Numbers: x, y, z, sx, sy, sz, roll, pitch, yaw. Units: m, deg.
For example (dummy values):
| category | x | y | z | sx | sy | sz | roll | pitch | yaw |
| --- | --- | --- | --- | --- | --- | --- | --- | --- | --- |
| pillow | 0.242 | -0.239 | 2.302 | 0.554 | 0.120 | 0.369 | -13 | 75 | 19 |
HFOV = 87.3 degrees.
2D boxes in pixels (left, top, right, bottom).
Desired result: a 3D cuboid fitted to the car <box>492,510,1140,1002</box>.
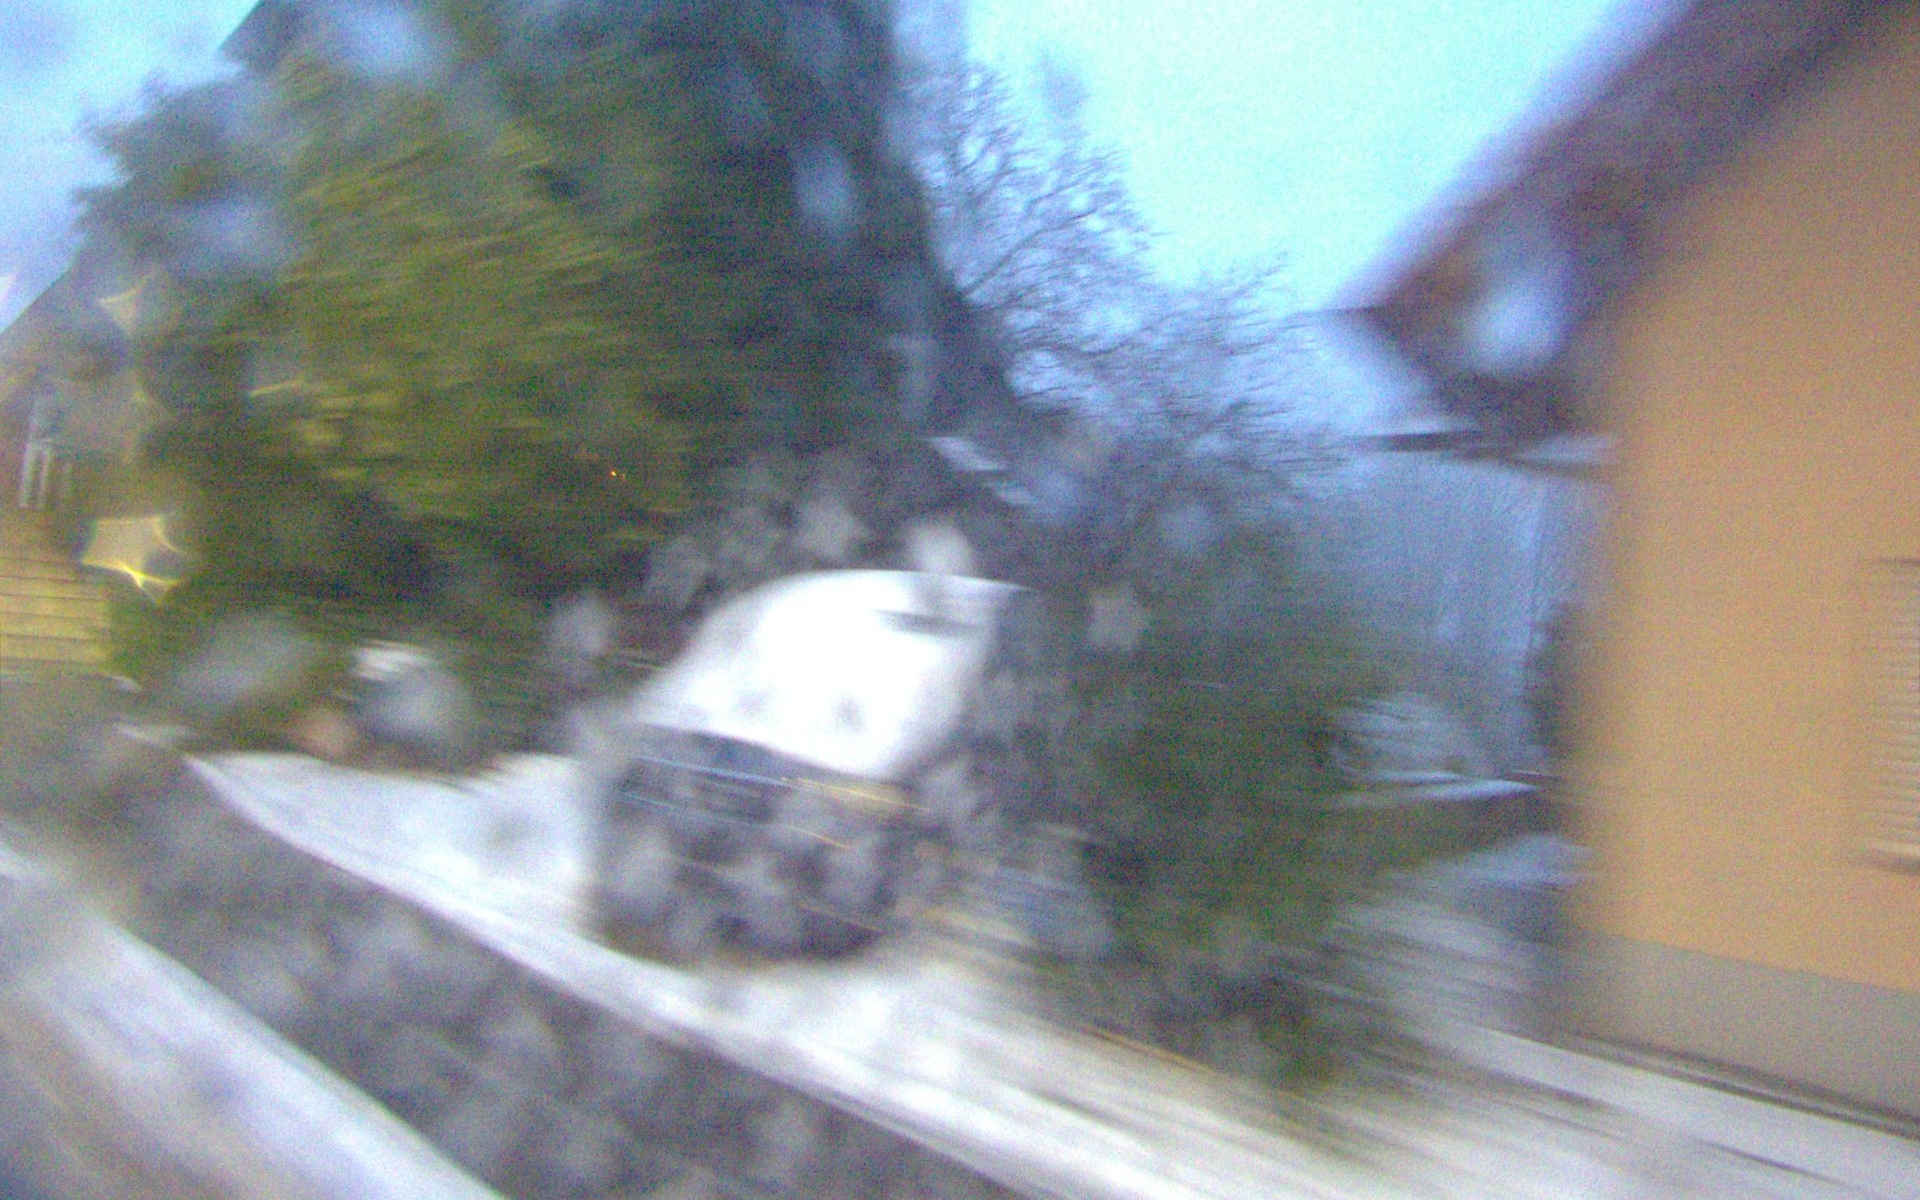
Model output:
| category | x | y | z | sx | sy | sz | roll | pitch | yaw |
| --- | --- | --- | --- | --- | --- | --- | --- | --- | --- |
| car | -0.350 | 0.471 | 5.683 | 1.811 | 1.714 | 3.991 | 3 | 3 | 23 |

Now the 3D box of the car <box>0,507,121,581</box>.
| category | x | y | z | sx | sy | sz | roll | pitch | yaw |
| --- | --- | --- | --- | --- | --- | --- | --- | --- | --- |
| car | -20.843 | -1.275 | 22.101 | 1.617 | 1.404 | 3.433 | 3 | -2 | 41 |
